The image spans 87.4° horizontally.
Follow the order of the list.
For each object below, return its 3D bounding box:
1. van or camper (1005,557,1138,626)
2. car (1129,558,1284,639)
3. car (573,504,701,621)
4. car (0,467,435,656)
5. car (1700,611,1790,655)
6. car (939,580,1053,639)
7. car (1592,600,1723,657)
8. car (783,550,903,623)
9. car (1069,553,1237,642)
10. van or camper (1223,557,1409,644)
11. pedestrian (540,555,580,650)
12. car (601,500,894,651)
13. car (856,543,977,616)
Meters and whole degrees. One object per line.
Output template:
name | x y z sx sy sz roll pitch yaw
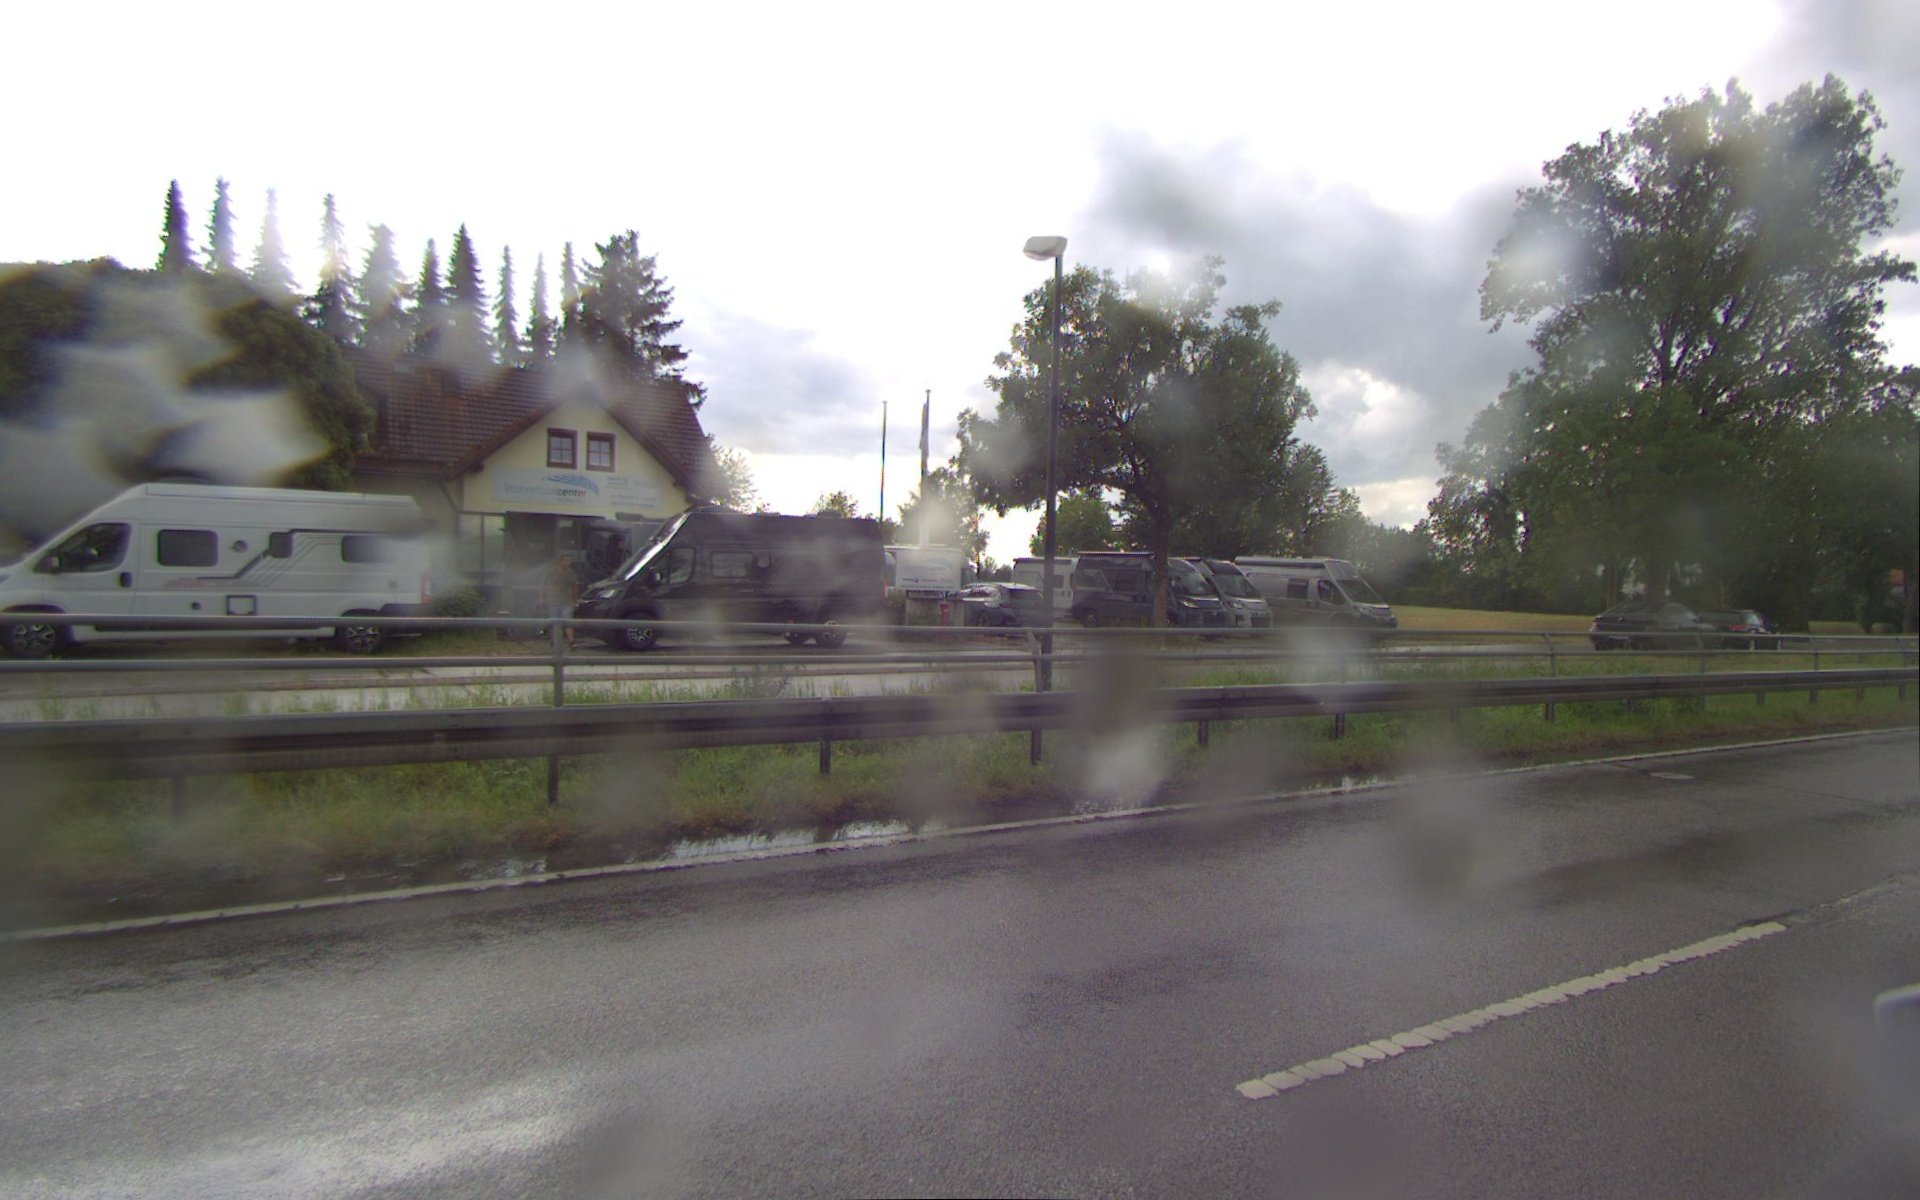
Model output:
van or camper | 4.492 -0.414 41.492 1.982 2.625 5.761 1 2 -37
car | 8.191 -0.122 33.875 1.978 2.492 5.062 1 2 -33
car | -8.871 -0.980 27.205 2.142 2.802 5.610 1 1 -30
car | -11.871 -0.538 16.126 5.952 2.615 2.225 1 2 -32
car | 26.078 1.061 33.355 3.859 1.349 1.274 1 1 -35
car | 0.974 0.239 29.031 1.521 1.516 3.867 1 2 -28
car | 20.786 0.822 29.858 5.071 1.511 1.505 1 2 -35
car | -4.386 -0.536 36.607 2.067 2.449 6.062 1 1 -30
car | 5.879 -0.150 31.234 1.980 2.535 5.147 1 2 -35
van or camper | 12.015 -0.076 34.378 2.061 2.713 5.835 1 2 -35
pedestrian | -7.406 0.043 18.601 0.641 1.733 0.514 1 2 -22
car | -4.399 -0.449 21.116 5.513 2.800 2.369 1 2 -33
car | -1.827 -0.810 38.869 2.067 2.573 6.062 1 1 -30
